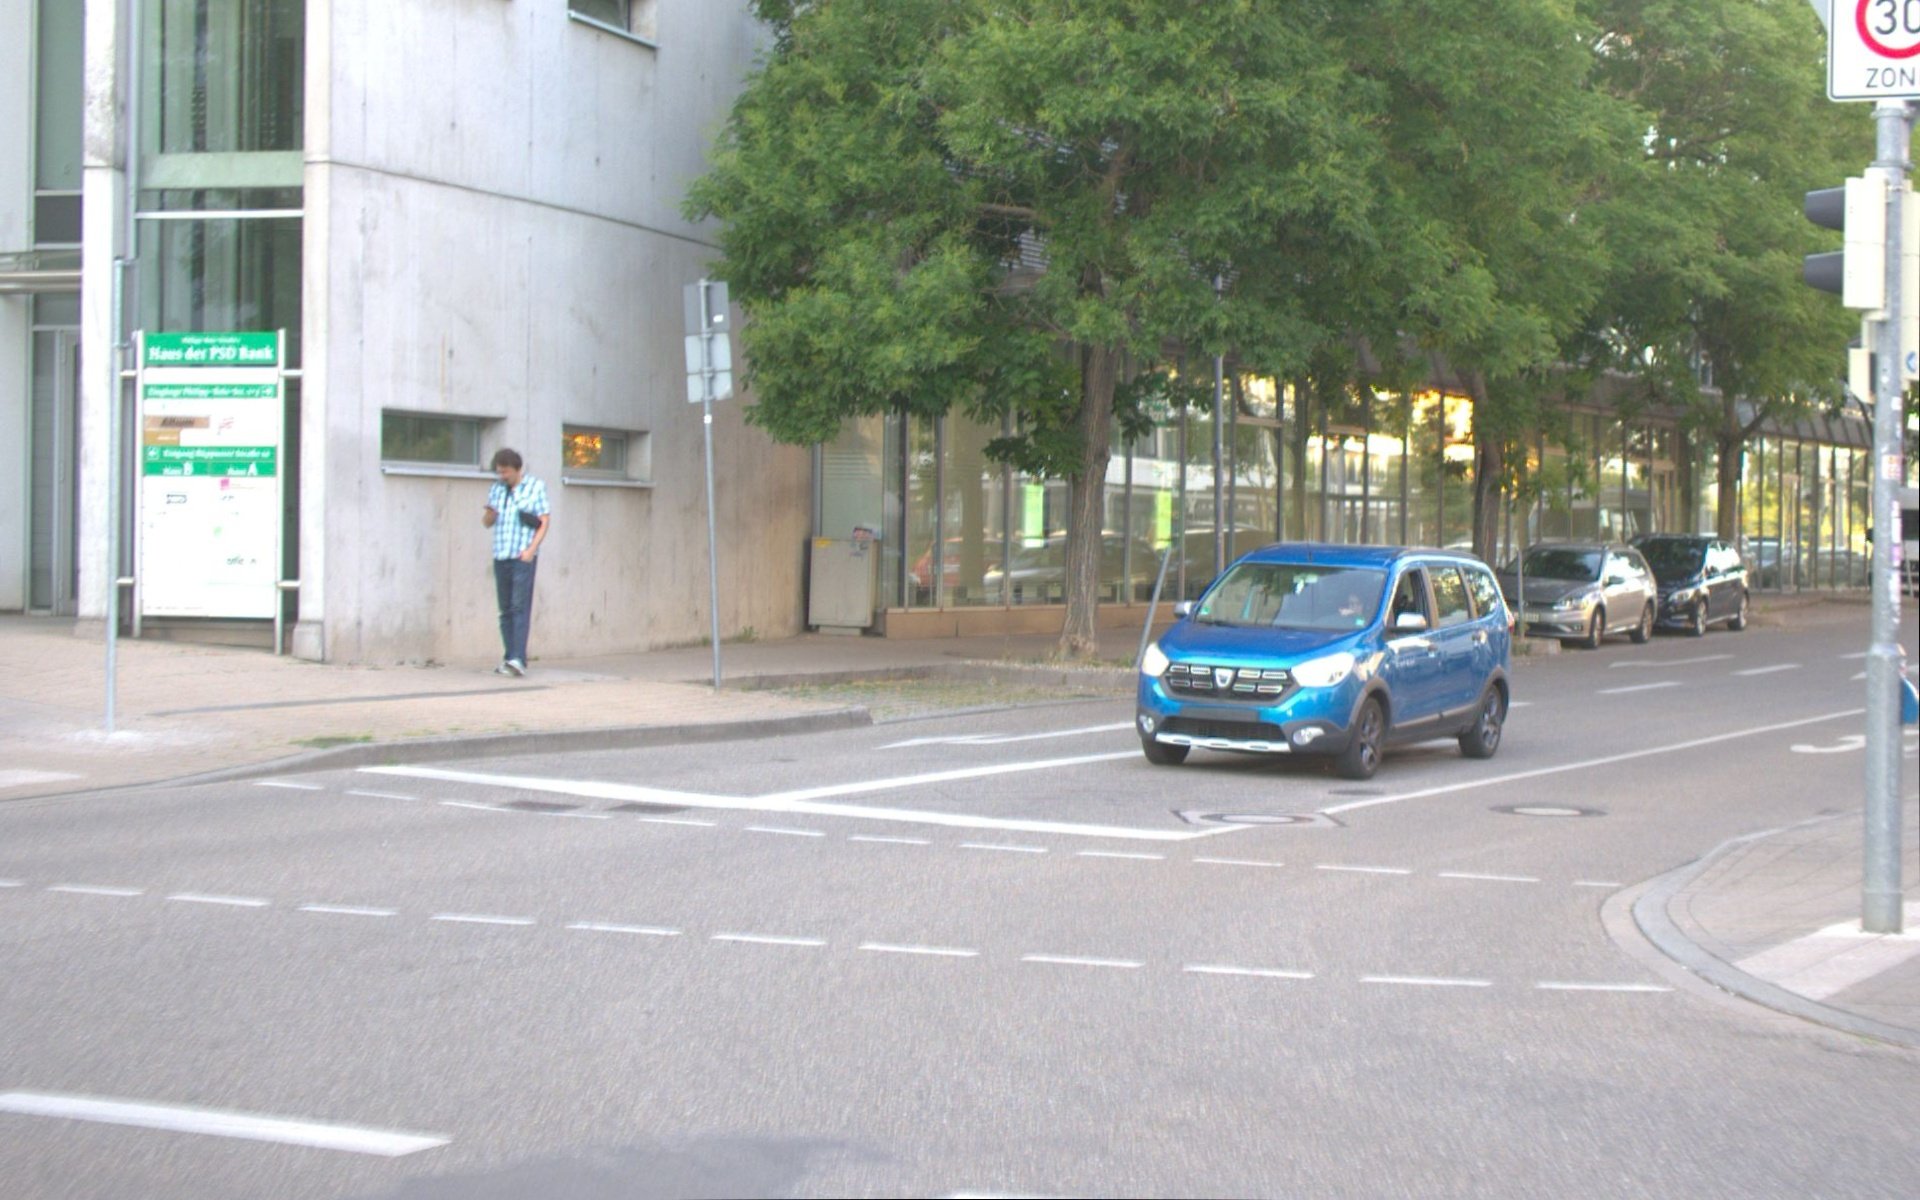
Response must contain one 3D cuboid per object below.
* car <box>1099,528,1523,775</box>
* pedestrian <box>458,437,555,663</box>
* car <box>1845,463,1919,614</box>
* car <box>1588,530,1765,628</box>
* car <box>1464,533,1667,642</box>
[{"bbox_3d":[2.754,0.322,26.092,1.685,1.694,4.232,1,1,28],"label":"car"},{"bbox_3d":[-3.882,-0.429,29.428,0.662,1.916,0.548,0,1,16],"label":"pedestrian"},{"bbox_3d":[21.110,-1.335,74.808,2.205,3.141,6.133,1,1,27],"label":"car"},{"bbox_3d":[11.572,-0.360,55.340,1.685,1.496,4.233,1,1,27],"label":"car"},{"bbox_3d":[8.833,-0.209,49.905,1.685,1.496,4.233,1,1,27],"label":"car"}]
